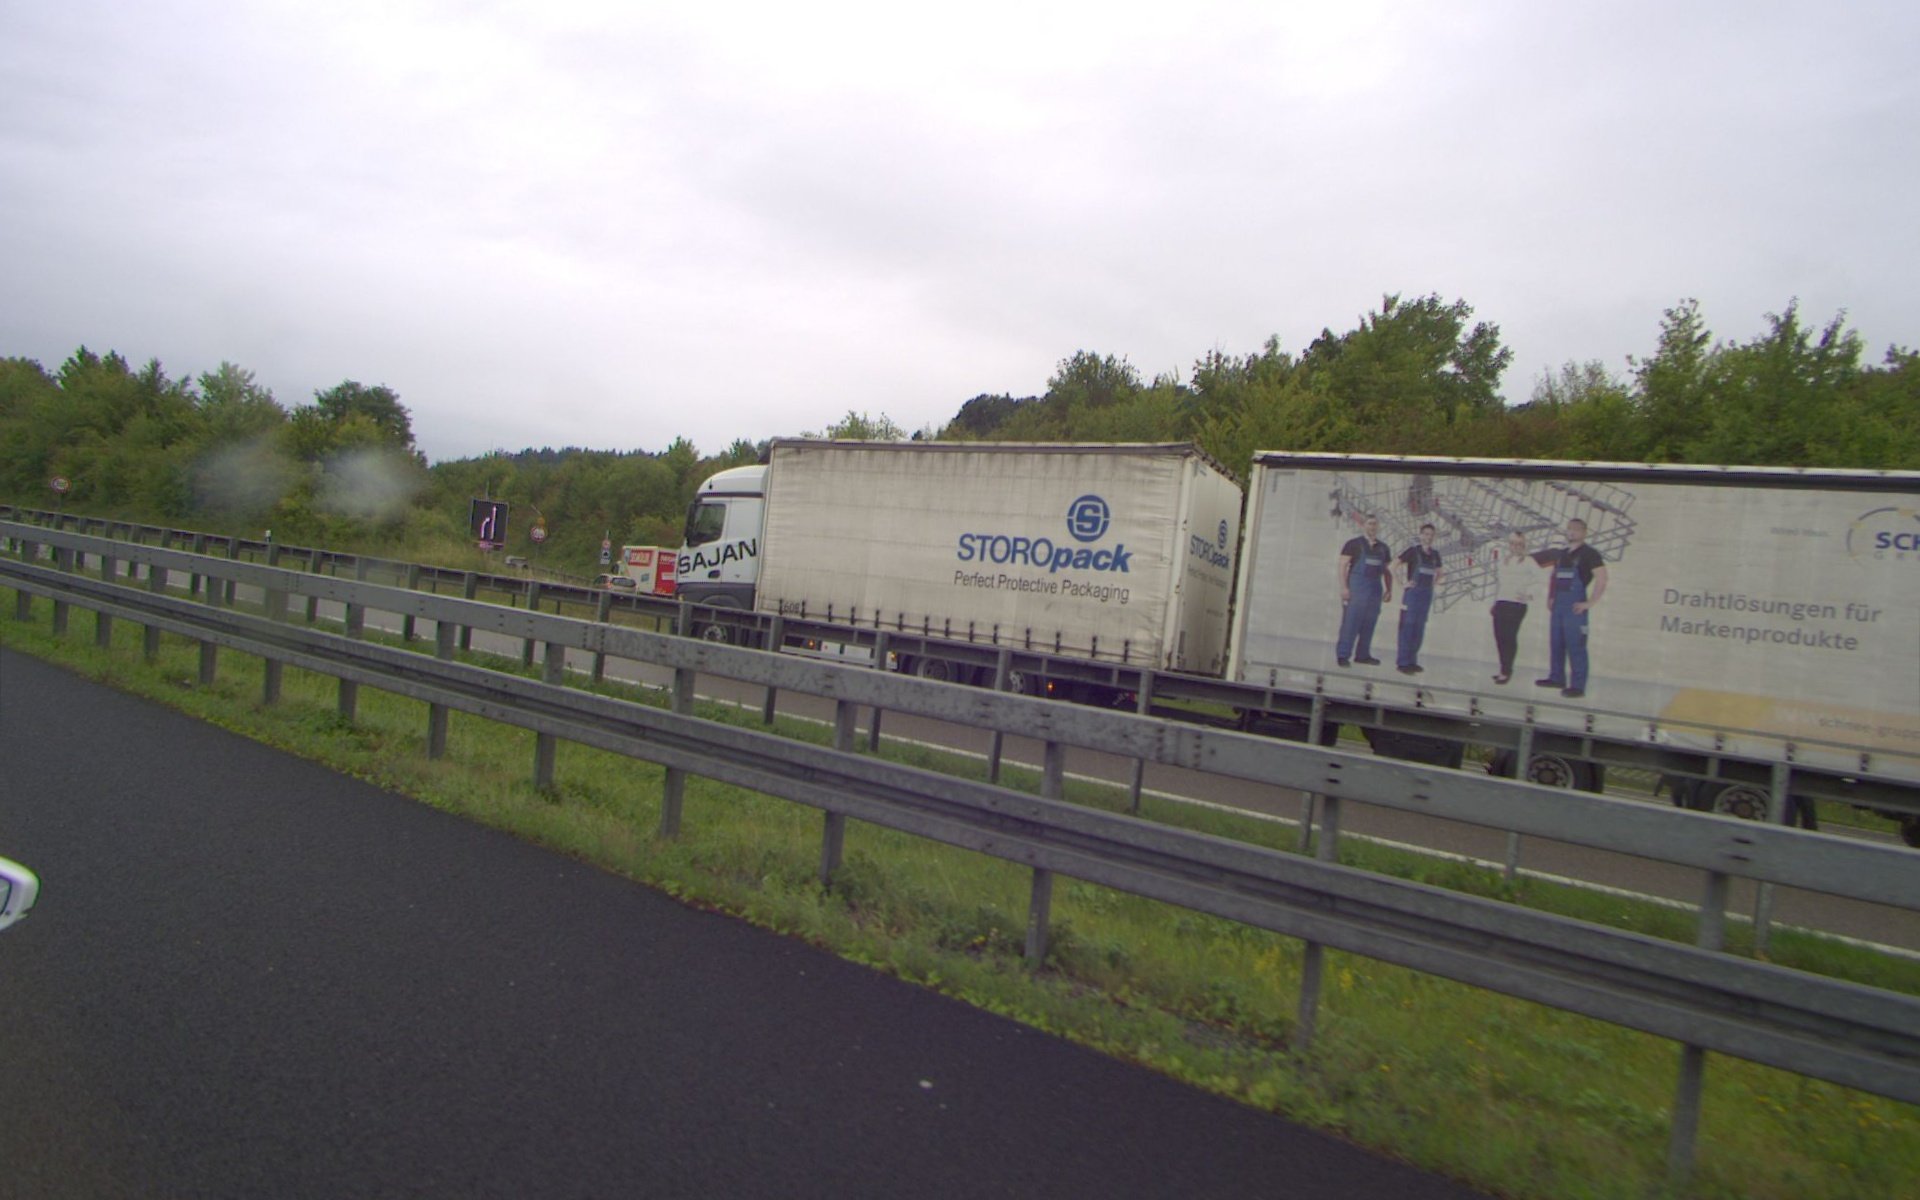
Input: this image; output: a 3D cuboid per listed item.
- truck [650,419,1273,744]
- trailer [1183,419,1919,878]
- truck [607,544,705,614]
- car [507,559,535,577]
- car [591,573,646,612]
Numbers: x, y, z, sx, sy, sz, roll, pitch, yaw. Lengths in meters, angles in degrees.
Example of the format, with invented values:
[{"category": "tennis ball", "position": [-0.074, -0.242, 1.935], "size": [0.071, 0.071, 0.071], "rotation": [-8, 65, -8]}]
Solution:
[{"category": "truck", "position": [-0.360, -0.592, 17.646], "size": [10.245, 4.341, 3.442], "rotation": [7, 0, 32]}, {"category": "trailer", "position": [8.435, 0.410, 12.119], "size": [10.281, 4.341, 3.442], "rotation": [7, 0, 32]}, {"category": "truck", "position": [-17.777, -1.310, 58.383], "size": [2.879, 3.435, 8.900], "rotation": [7, -1, -32]}, {"category": "car", "position": [-42.245, -3.068, 96.836], "size": [1.846, 1.464, 4.125], "rotation": [7, -1, -31]}, {"category": "car", "position": [-17.701, -0.423, 52.031], "size": [1.845, 1.678, 4.441], "rotation": [7, -1, -29]}]
